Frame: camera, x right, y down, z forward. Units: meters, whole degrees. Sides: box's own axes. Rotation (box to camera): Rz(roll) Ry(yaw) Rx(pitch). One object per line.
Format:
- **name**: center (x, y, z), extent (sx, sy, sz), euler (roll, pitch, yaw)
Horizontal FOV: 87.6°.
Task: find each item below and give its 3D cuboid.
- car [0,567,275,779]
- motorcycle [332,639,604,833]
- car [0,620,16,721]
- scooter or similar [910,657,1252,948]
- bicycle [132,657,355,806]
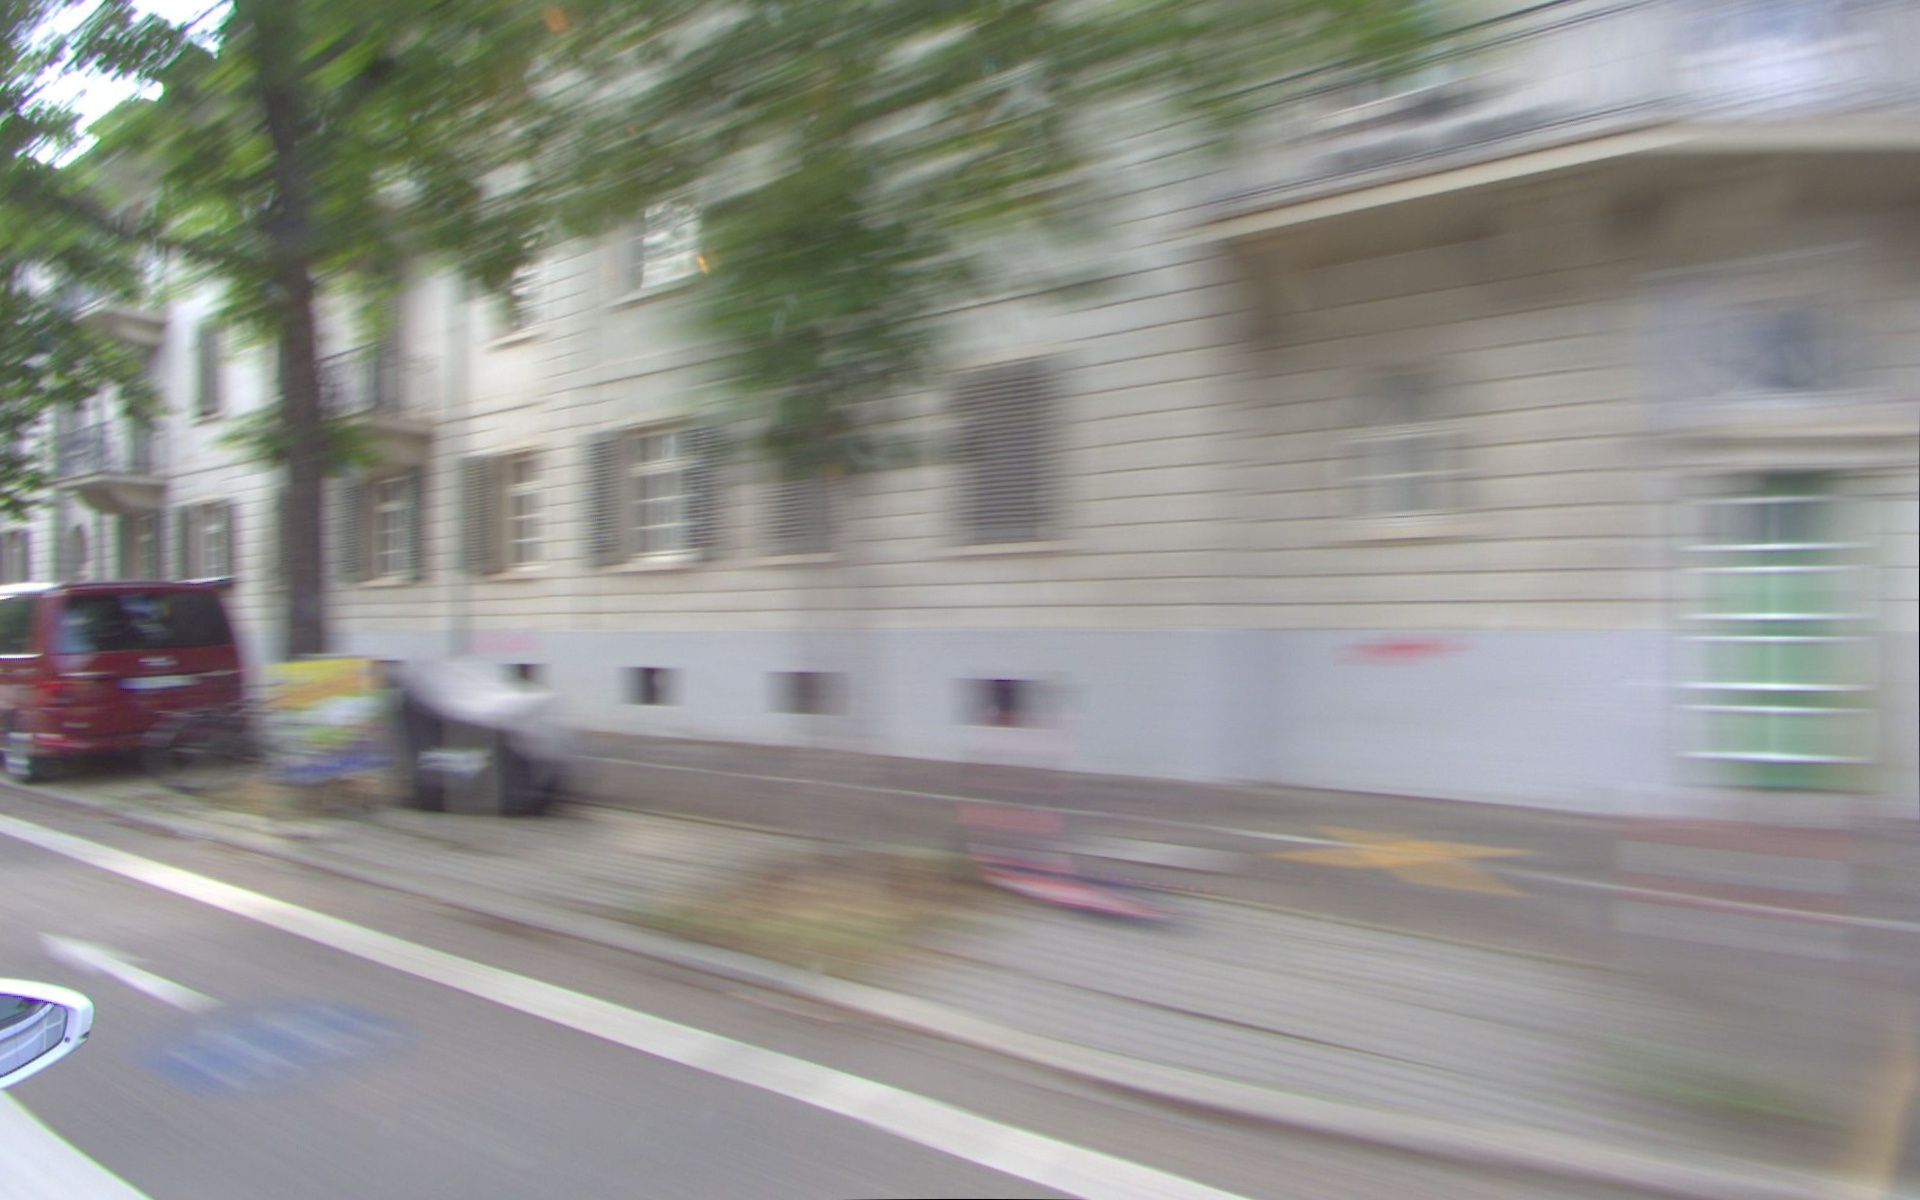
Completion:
- **car**: center (-10.017, 0.741, 11.420), extent (4.880, 1.966, 1.892), euler (-1, -1, 32)
- **motorcycle**: center (-3.969, 0.989, 7.997), extent (2.411, 1.338, 0.855), euler (-1, -1, 33)
- **car**: center (-16.795, 1.093, 15.773), extent (4.721, 1.518, 1.704), euler (-1, -1, 32)
- **scooter or similar**: center (0.584, 0.949, 5.183), extent (1.696, 1.267, 0.531), euler (-1, 0, 33)
- **bicycle**: center (-6.618, 1.161, 9.335), extent (0.581, 1.219, 1.608), euler (-1, -1, 29)
